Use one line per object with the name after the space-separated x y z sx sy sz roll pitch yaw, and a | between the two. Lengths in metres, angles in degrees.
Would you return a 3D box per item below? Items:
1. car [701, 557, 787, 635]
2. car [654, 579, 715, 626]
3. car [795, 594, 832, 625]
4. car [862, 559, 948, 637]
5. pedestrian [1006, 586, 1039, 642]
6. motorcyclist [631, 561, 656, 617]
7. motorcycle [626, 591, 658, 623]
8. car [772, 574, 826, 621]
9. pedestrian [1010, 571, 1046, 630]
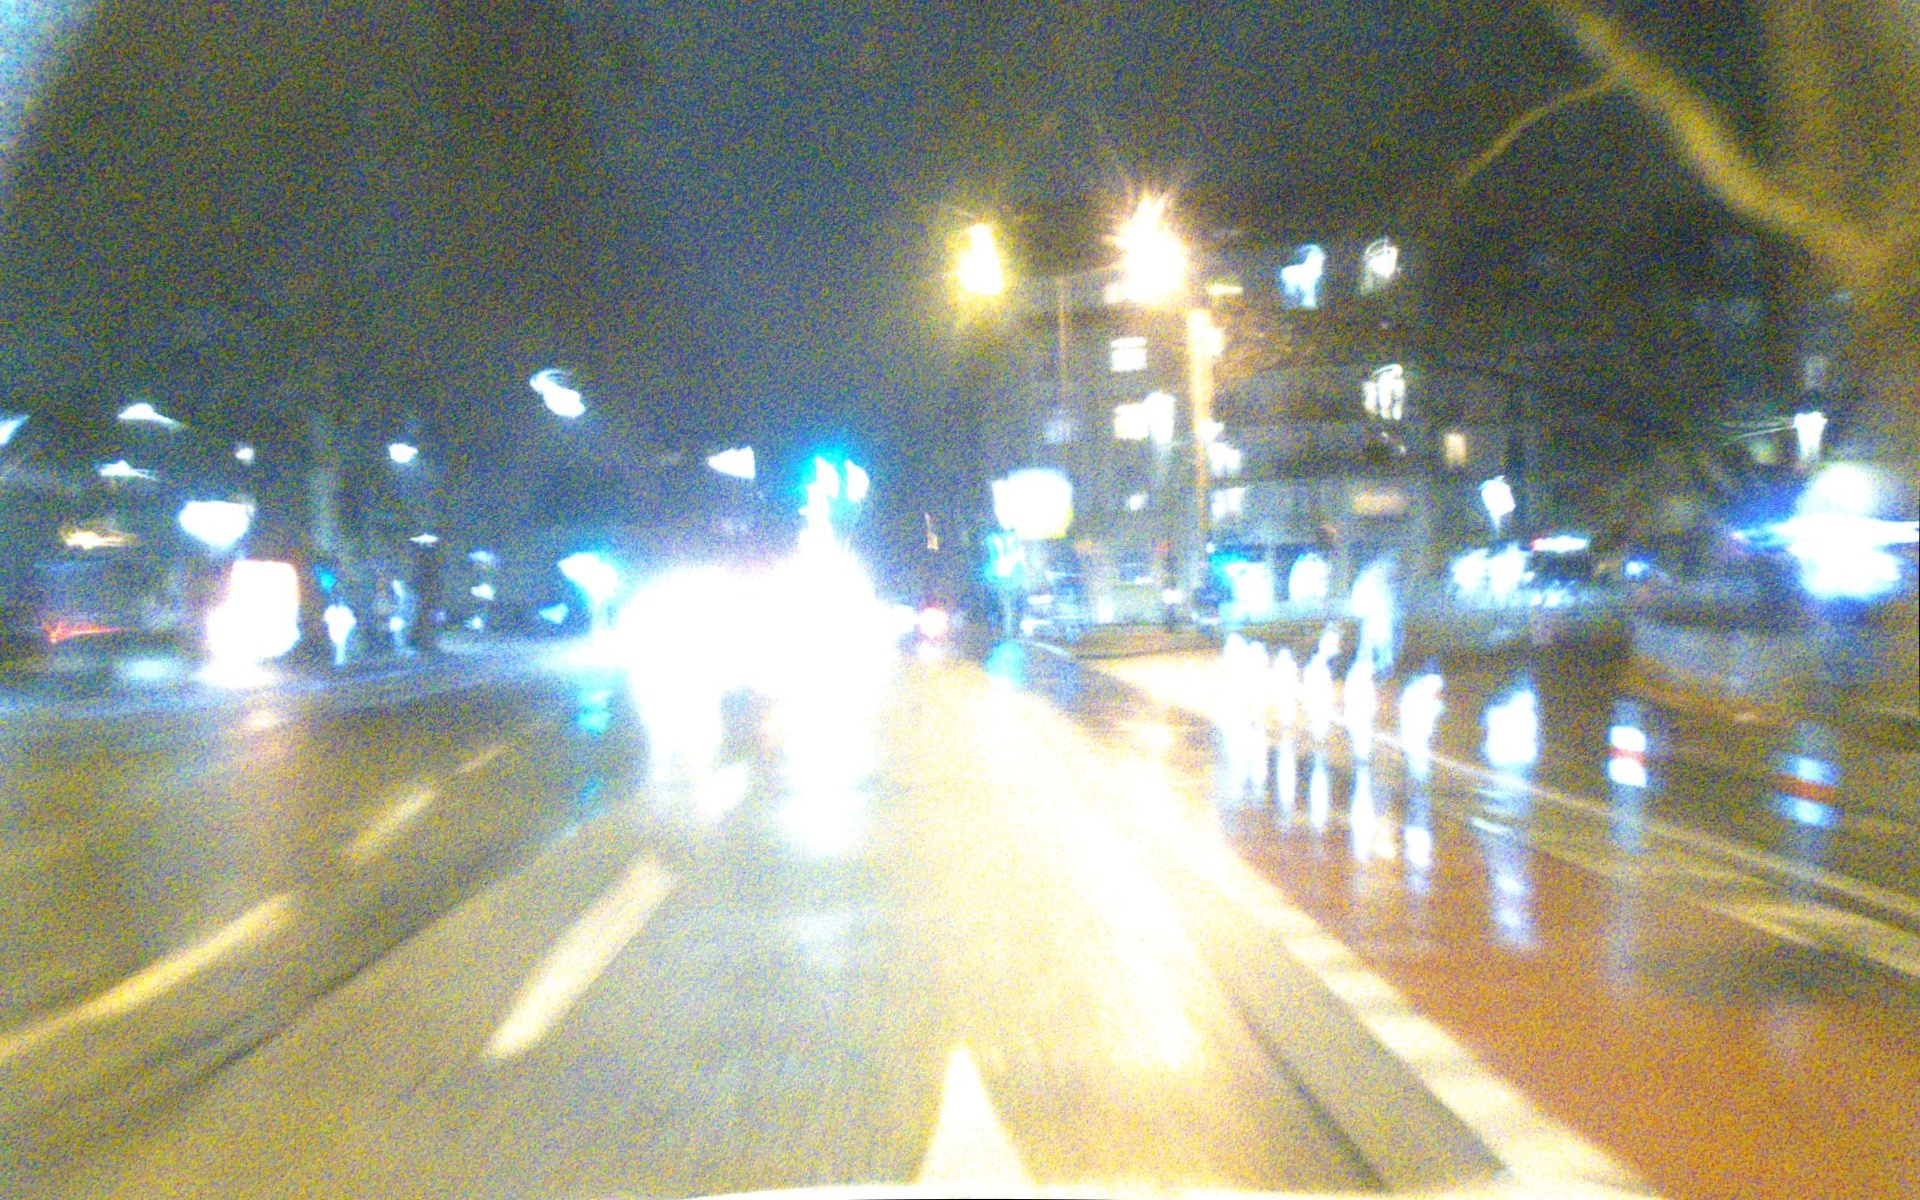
-6.047 -0.139 46.852 1.994 1.987 5.196 -3 1 -4 | car
-9.565 0.057 57.680 1.817 1.525 4.763 -1 1 -6 | car
-7.655 0.494 86.180 1.675 1.569 3.980 -1 0 -9 | car
-1.560 -0.041 45.510 2.126 2.006 4.297 -1 0 -5 | car
2.133 0.468 56.302 1.084 1.857 0.851 -1 0 2 | pedestrian
-11.672 -0.417 60.943 0.678 2.049 0.983 -1 0 1 | motorcyclist
-11.673 0.244 60.821 0.686 1.158 2.176 -1 0 1 | motorcycle
-5.622 -0.066 57.591 1.783 1.569 4.720 -1 0 -6 | car
2.153 0.016 52.666 1.085 1.857 0.851 -1 0 0 | pedestrian
